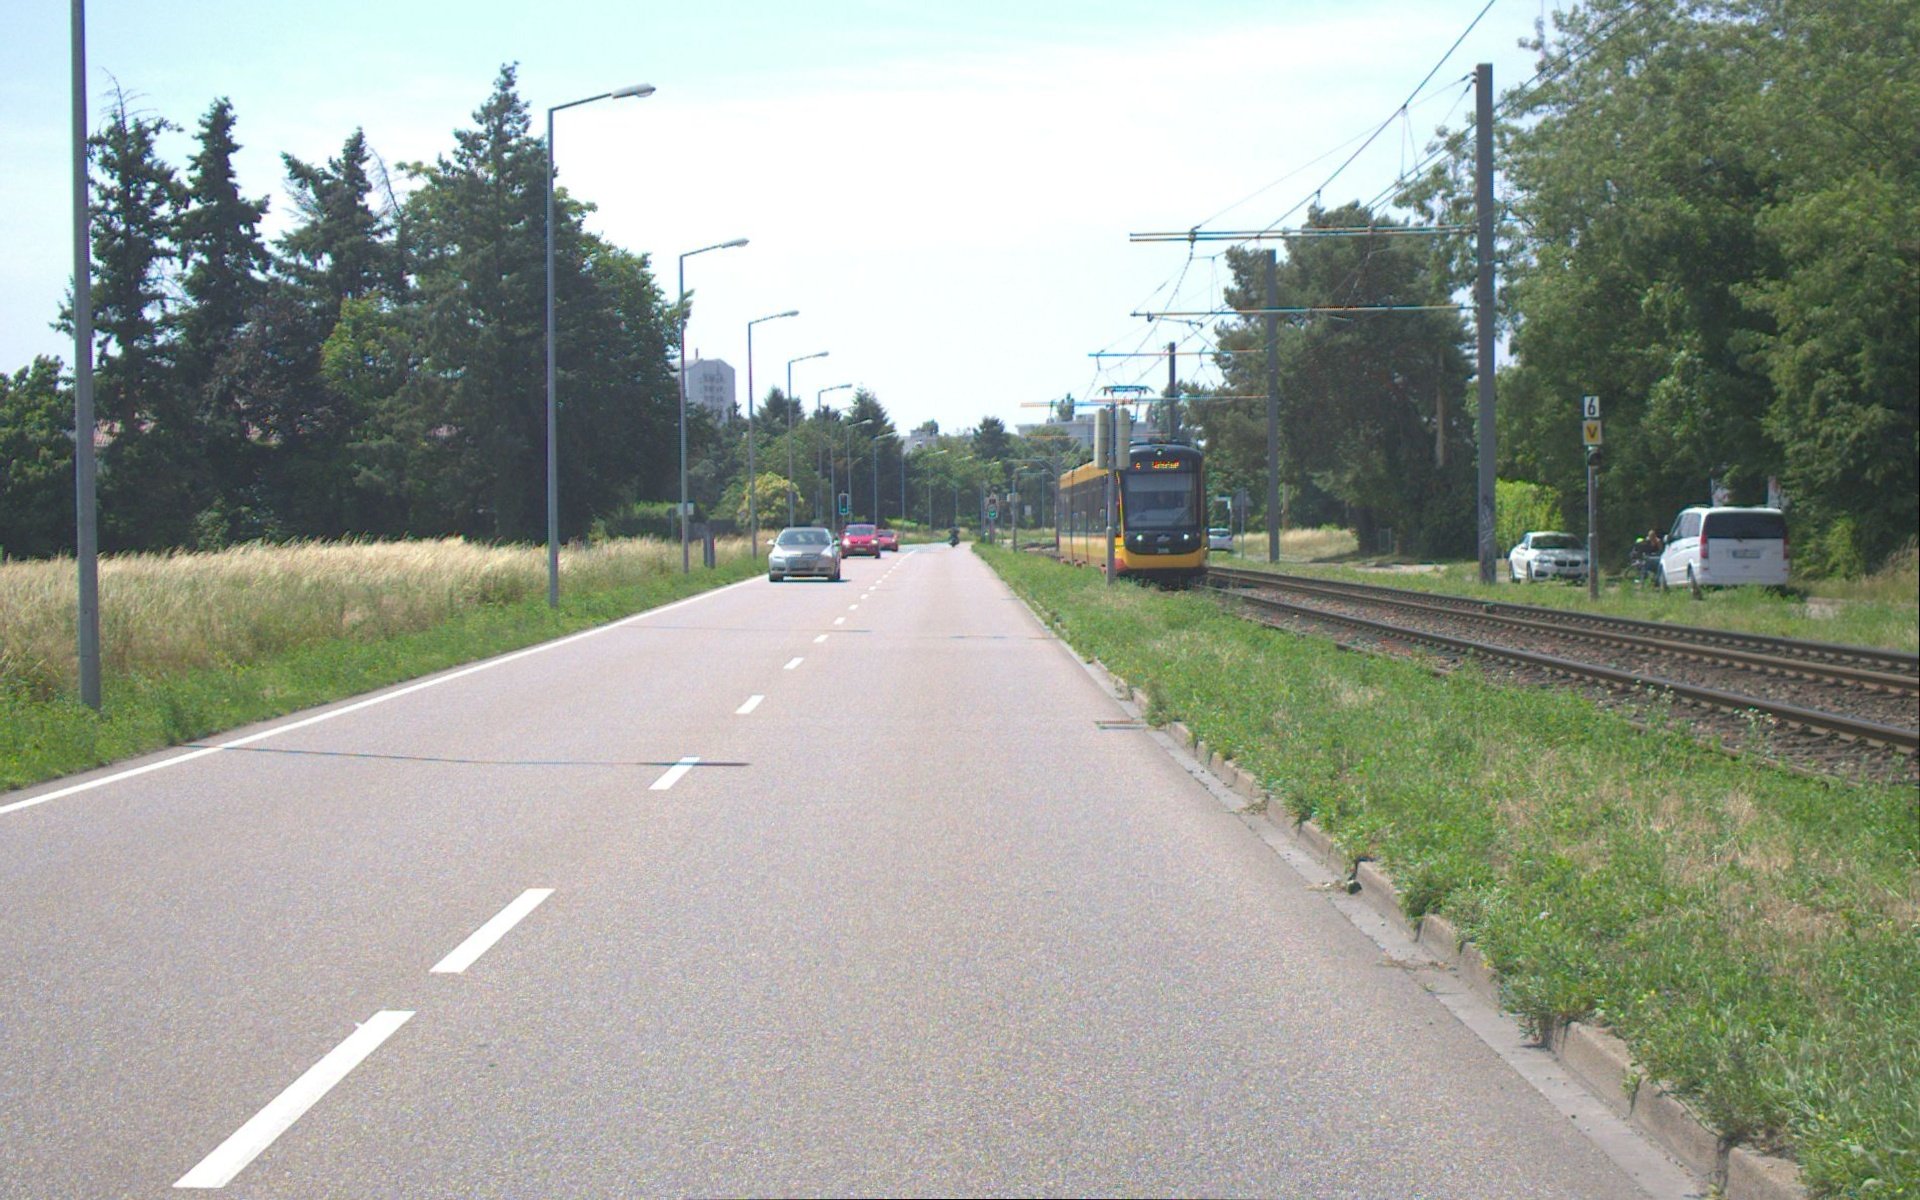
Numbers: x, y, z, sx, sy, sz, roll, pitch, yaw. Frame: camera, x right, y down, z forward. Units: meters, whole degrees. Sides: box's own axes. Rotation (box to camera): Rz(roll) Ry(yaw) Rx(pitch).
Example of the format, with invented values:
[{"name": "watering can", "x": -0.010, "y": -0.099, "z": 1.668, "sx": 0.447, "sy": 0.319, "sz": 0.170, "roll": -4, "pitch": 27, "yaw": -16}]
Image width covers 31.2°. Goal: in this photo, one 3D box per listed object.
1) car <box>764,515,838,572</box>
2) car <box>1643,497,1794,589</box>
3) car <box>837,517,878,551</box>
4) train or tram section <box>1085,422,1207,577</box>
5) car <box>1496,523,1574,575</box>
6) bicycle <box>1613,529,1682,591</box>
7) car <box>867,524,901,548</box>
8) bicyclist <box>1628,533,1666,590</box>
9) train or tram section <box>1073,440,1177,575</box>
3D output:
[{"name": "car", "x": -4.358, "y": -1.538, "z": 94.825, "sx": 1.834, "sy": 1.462, "sz": 4.678, "roll": -1, "pitch": 0, "yaw": 0}, {"name": "car", "x": 15.511, "y": -1.139, "z": 70.575, "sx": 1.993, "sy": 1.796, "sz": 4.794, "roll": -1, "pitch": 0, "yaw": 0}, {"name": "car", "x": -4.364, "y": -2.803, "z": 146.515, "sx": 1.645, "sy": 1.395, "sz": 3.844, "roll": -1, "pitch": 0, "yaw": 0}, {"name": "train or tram section", "x": 4.779, "y": -2.493, "z": 90.086, "sx": 2.429, "sy": 3.753, "sz": 11.559, "roll": -1, "pitch": 0, "yaw": 0}, {"name": "car", "x": 15.032, "y": -1.316, "z": 89.975, "sx": 1.428, "sy": 1.303, "sz": 3.466, "roll": -1, "pitch": 0, "yaw": 0}, {"name": "bicycle", "x": 16.223, "y": -0.942, "z": 81.218, "sx": 0.928, "sy": 1.425, "sz": 3.385, "roll": -1, "pitch": 0, "yaw": 0}, {"name": "car", "x": -4.272, "y": -3.610, "z": 194.357, "sx": 1.807, "sy": 1.281, "sz": 4.286, "roll": -1, "pitch": 0, "yaw": 0}, {"name": "bicyclist", "x": 16.263, "y": -0.902, "z": 81.395, "sx": 0.701, "sy": 1.333, "sz": 0.904, "roll": -1, "pitch": 0, "yaw": 0}, {"name": "train or tram section", "x": 4.720, "y": -2.605, "z": 99.293, "sx": 2.560, "sy": 3.701, "sz": 6.729, "roll": -1, "pitch": 0, "yaw": 0}]
